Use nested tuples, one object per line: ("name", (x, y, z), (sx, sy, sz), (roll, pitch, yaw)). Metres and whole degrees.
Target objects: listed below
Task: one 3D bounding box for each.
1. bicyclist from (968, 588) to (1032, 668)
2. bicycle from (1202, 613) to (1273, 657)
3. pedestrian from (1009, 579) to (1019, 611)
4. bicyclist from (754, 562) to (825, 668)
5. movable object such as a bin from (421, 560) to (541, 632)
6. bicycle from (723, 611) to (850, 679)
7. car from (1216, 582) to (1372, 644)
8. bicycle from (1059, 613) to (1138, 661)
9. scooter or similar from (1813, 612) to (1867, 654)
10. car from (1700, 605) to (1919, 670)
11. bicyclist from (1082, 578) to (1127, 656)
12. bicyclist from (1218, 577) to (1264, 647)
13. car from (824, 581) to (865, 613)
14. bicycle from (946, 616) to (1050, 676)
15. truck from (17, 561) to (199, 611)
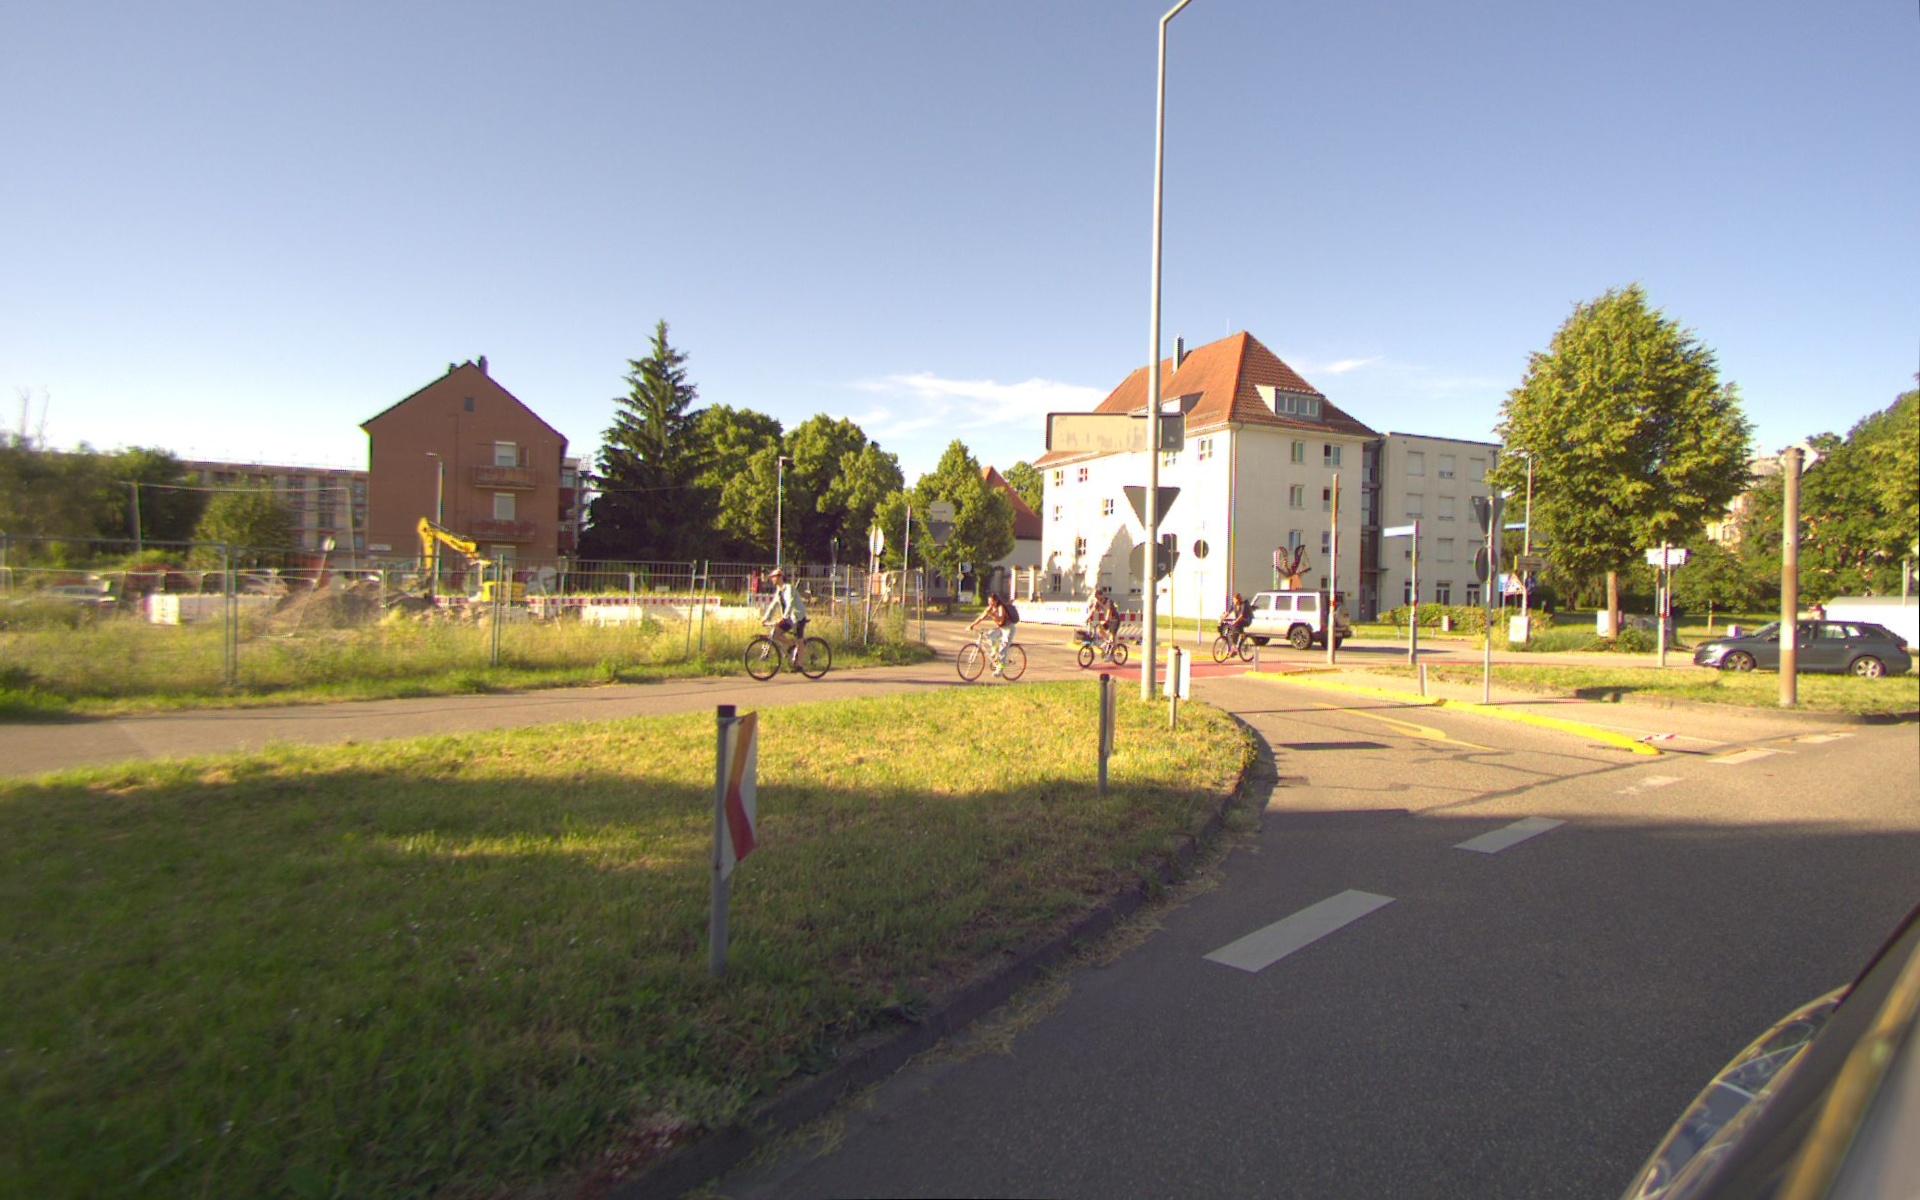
("bicyclist", (0.730, 0.507, 18.483), (0.916, 1.402, 0.661), (2, 0, -26))
("bicycle", (6.811, 0.856, 24.800), (1.788, 1.041, 0.660), (2, -2, -33))
("pedestrian", (3.478, -0.325, 65.424), (0.462, 2.039, 0.456), (1, 0, -14))
("bicyclist", (-2.870, 0.239, 17.031), (0.839, 1.701, 0.741), (2, 2, -41))
("movable object such as a bin", (-19.648, -0.149, 41.574), (3.954, 2.809, 2.408), (0, -2, 23))
("bicycle", (-2.903, 0.731, 17.048), (1.975, 1.040, 0.741), (1, 2, -41))
("car", (11.152, 0.414, 34.088), (1.966, 1.921, 4.751), (1, -1, -36))
("bicycle", (3.135, 0.837, 22.896), (1.788, 1.041, 0.660), (2, -2, -34))
("scooter or similar", (27.074, 1.008, 31.148), (1.240, 1.264, 0.444), (0, -2, -1))
("car", (20.933, 0.870, 24.983), (4.116, 1.454, 1.701), (1, -1, 30))
("bicyclist", (3.283, 0.375, 22.996), (0.797, 1.752, 0.655), (0, -1, -34))
("bicyclist", (6.915, 0.314, 24.896), (0.881, 1.687, 0.660), (2, -2, -33))
("car", (-7.173, -0.196, 62.546), (1.958, 1.923, 4.008), (0, 0, -15))
("bicycle", (0.701, 0.823, 18.488), (1.786, 1.040, 0.661), (0, 0, -26))
("truck", (-38.412, -0.617, 45.747), (6.313, 2.040, 2.171), (1, -2, 0))
